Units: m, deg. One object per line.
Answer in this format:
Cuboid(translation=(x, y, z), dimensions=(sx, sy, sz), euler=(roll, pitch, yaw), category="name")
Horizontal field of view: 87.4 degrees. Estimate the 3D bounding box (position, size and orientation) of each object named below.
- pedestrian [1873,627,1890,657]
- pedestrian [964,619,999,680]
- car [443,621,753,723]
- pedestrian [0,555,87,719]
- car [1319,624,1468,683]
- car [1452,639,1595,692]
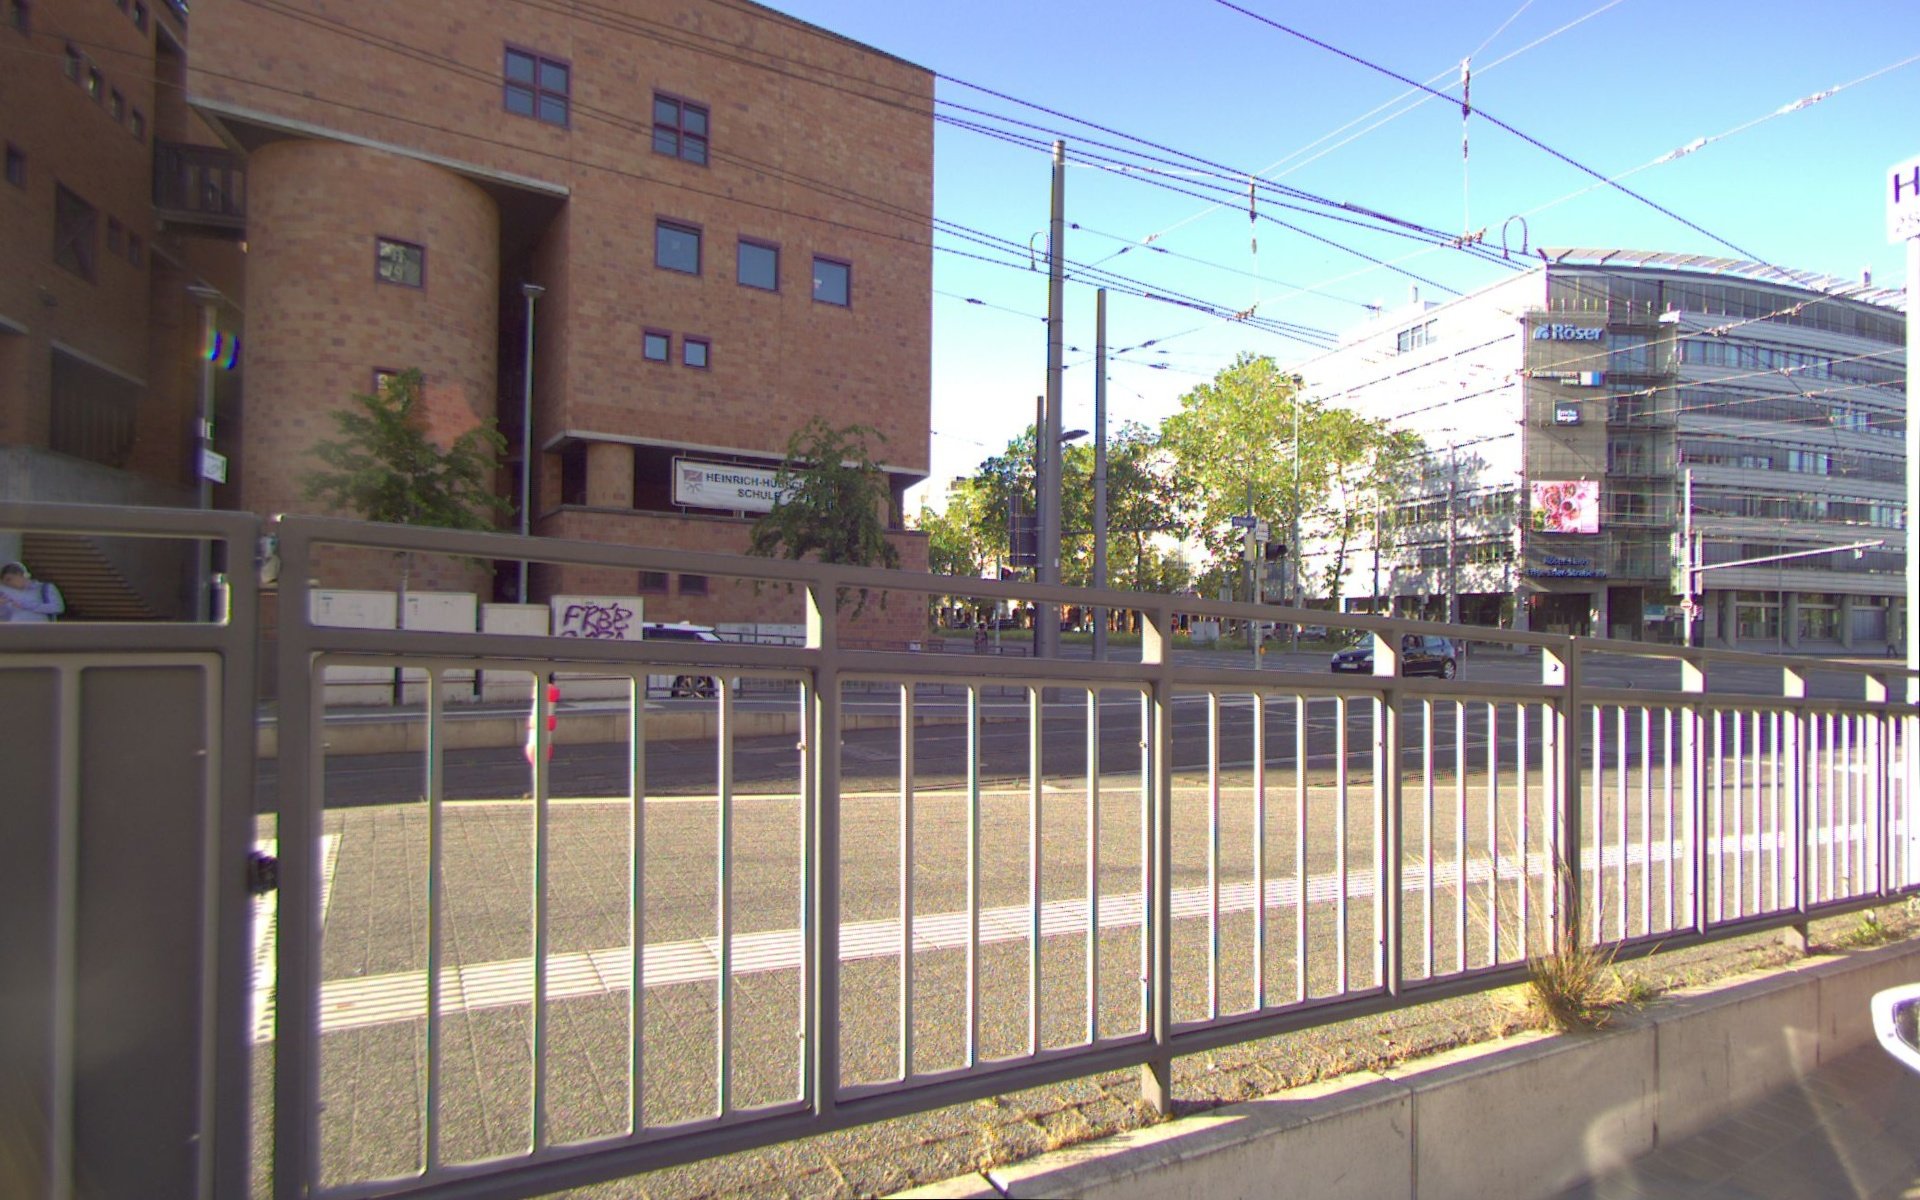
Cuboid(translation=(64.021, 2.925, 69.805), dimensions=(0.745, 2.040, 0.627), euler=(2, 0, -30), category="pedestrian")
Cuboid(translation=(0.626, 1.434, 29.255), dimensions=(0.785, 1.714, 0.587), euler=(2, 0, -29), category="pedestrian")
Cuboid(translation=(-5.844, 1.095, 16.432), dimensions=(4.484, 1.449, 1.814), euler=(1, -1, -35), category="car")
Cuboid(translation=(-9.690, 0.376, 10.541), dimensions=(0.679, 1.656, 0.662), euler=(2, 0, -34), category="pedestrian")
Cuboid(translation=(12.038, 1.469, 27.828), dimensions=(4.198, 1.449, 1.813), euler=(2, 0, -34), category="car")
Cuboid(translation=(13.669, 1.560, 24.432), dimensions=(2.841, 1.077, 1.238), euler=(2, 0, 40), category="car")
